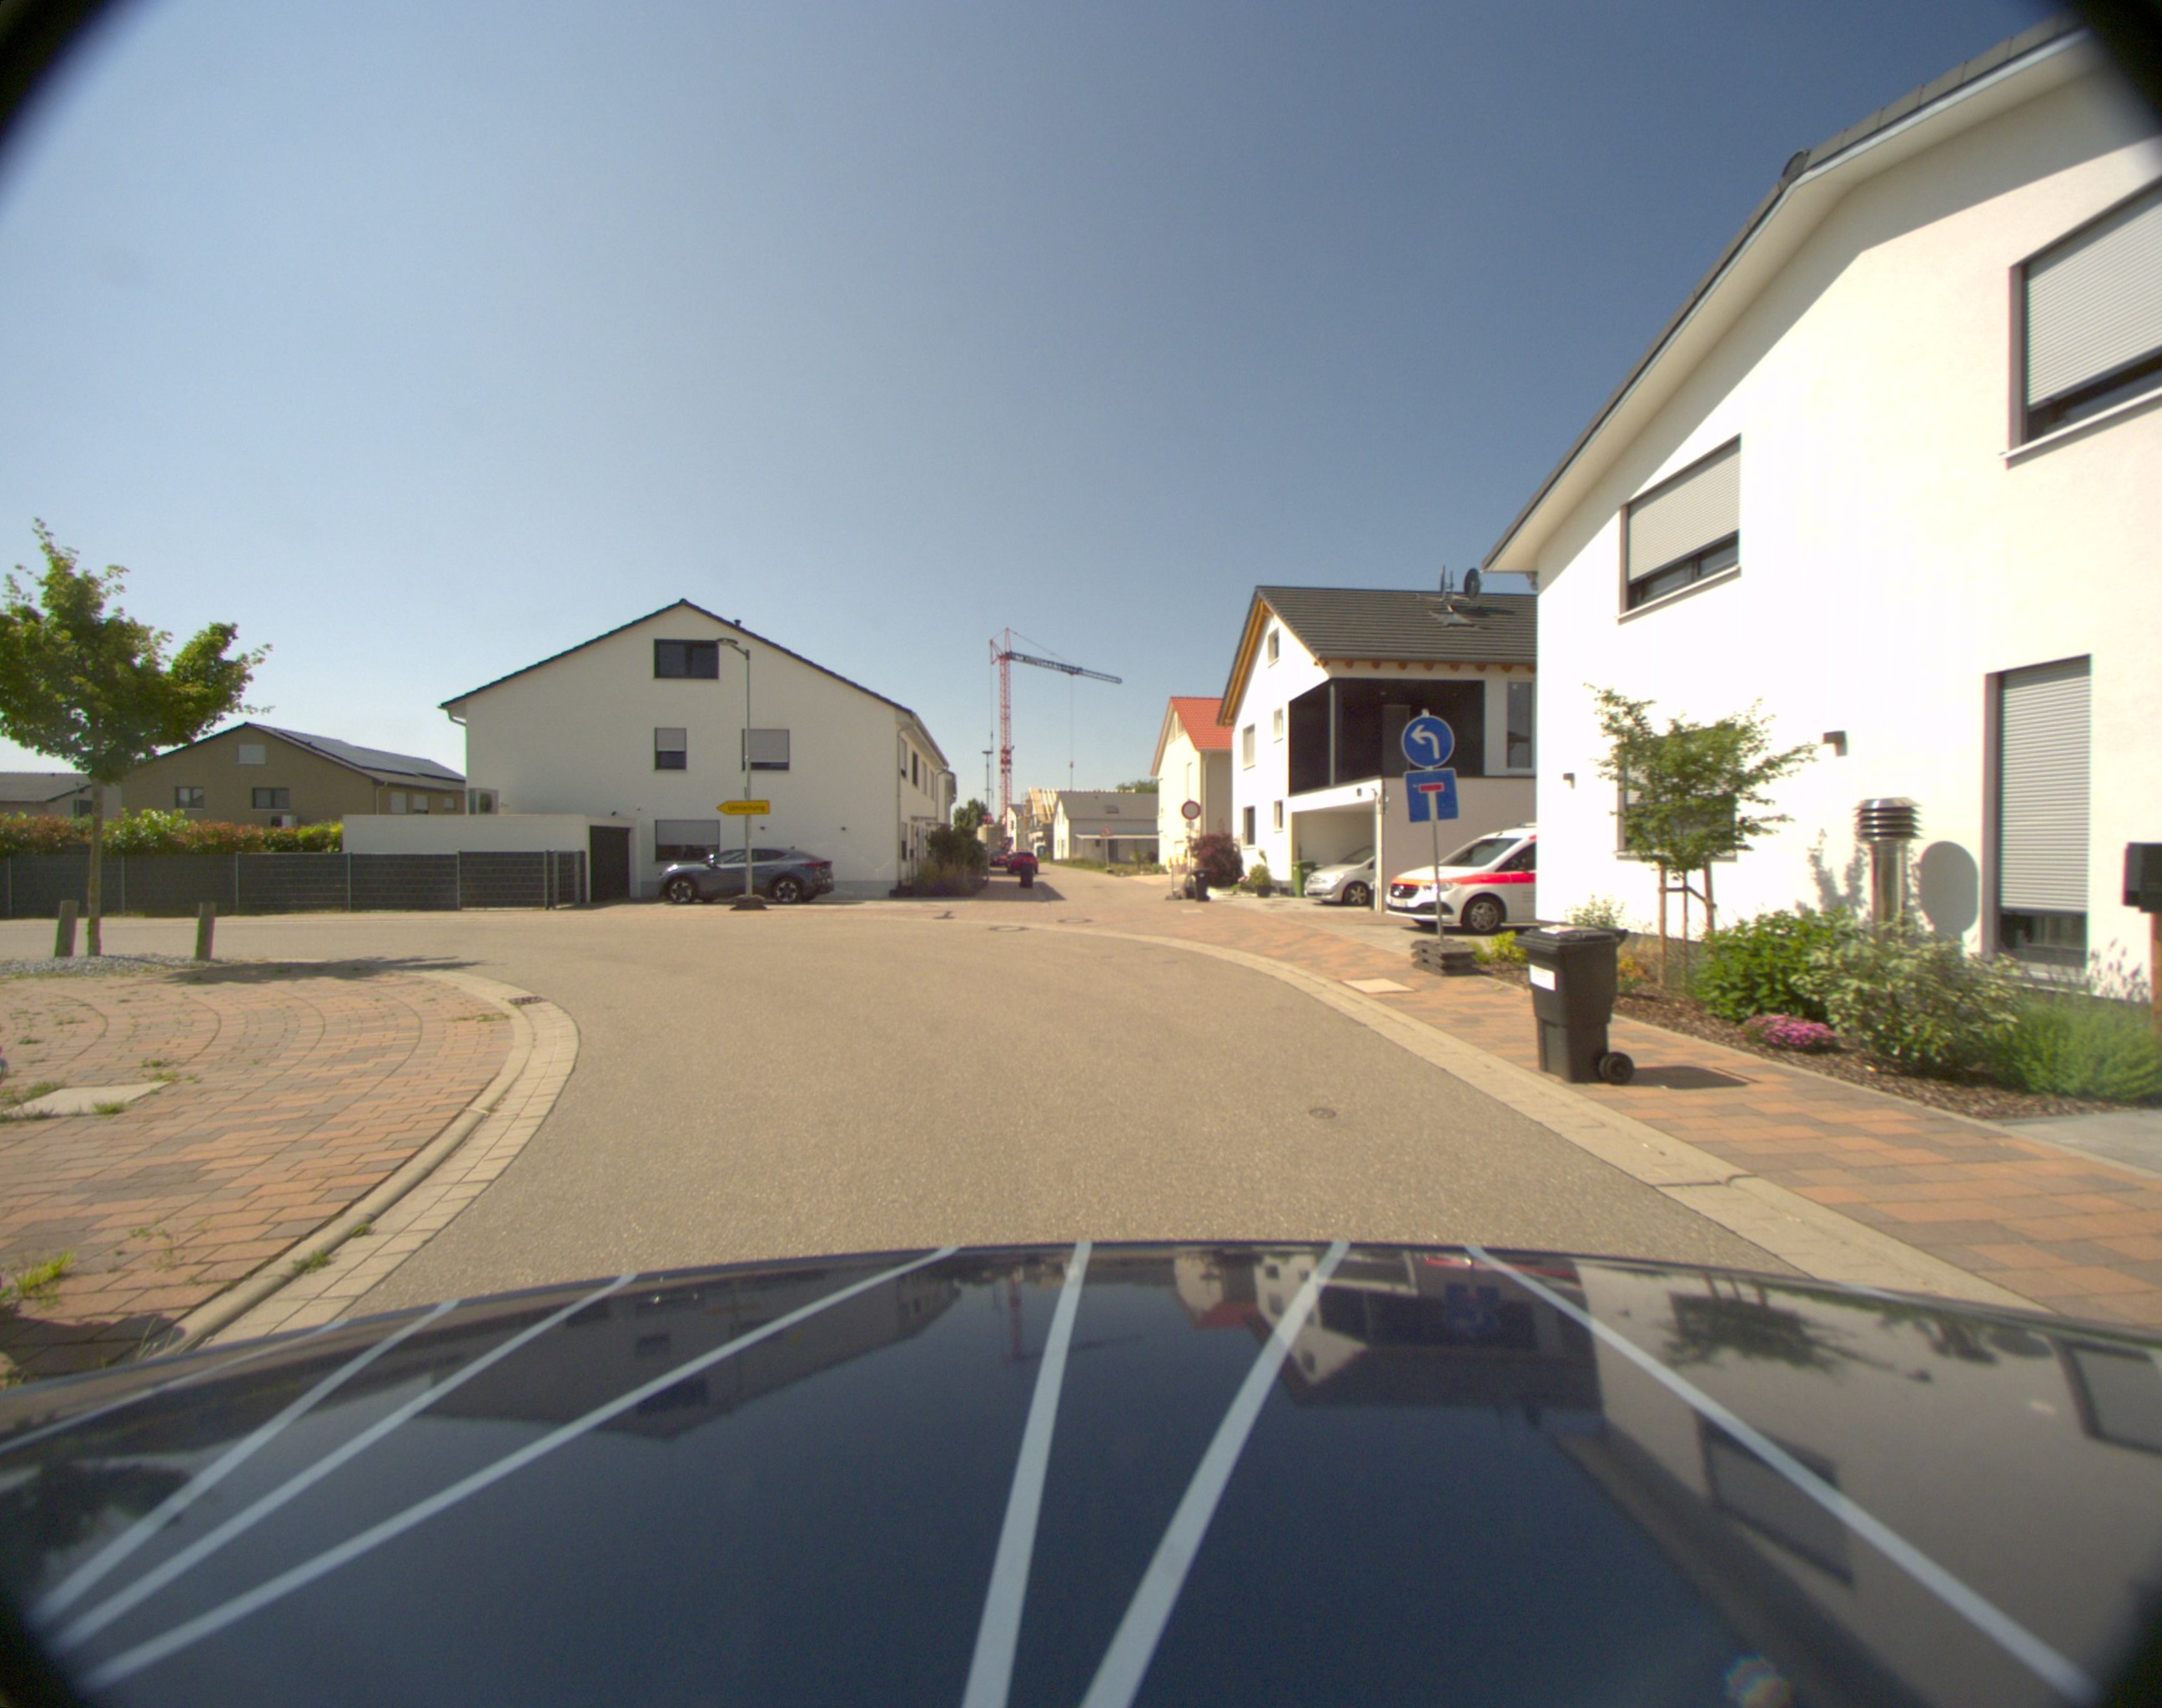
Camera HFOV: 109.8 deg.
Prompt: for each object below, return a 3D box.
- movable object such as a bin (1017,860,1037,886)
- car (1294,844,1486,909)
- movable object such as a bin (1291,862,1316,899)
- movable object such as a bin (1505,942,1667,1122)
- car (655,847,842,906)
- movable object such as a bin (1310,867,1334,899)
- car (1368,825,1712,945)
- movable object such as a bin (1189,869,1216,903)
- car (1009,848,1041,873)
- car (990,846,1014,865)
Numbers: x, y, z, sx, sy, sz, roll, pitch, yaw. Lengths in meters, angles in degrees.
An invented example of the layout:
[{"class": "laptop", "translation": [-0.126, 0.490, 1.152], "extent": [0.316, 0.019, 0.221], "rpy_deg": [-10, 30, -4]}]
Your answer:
[{"class": "movable object such as a bin", "translation": [-2.233, 0.787, 31.405], "extent": [0.824, 1.058, 0.589], "rpy_deg": [-1, 2, -6]}, {"class": "car", "translation": [7.729, 0.532, 19.198], "extent": [4.165, 1.553, 1.744], "rpy_deg": [0, 1, -7]}, {"class": "movable object such as a bin", "translation": [6.517, 0.772, 22.306], "extent": [0.500, 1.085, 0.601], "rpy_deg": [-1, 0, -6]}, {"class": "movable object such as a bin", "translation": [3.021, 1.042, 4.585], "extent": [0.625, 0.943, 0.499], "rpy_deg": [-1, 2, -6]}, {"class": "car", "translation": [-9.146, 0.601, 21.193], "extent": [4.349, 1.549, 1.959], "rpy_deg": [0, 0, -4]}, {"class": "movable object such as a bin", "translation": [7.110, 0.849, 22.420], "extent": [0.500, 0.900, 0.561], "rpy_deg": [-1, 2, -6]}, {"class": "car", "translation": [7.626, 0.472, 12.918], "extent": [4.750, 1.864, 1.937], "rpy_deg": [0, 1, -4]}, {"class": "movable object such as a bin", "translation": [3.418, 0.903, 21.456], "extent": [0.618, 0.931, 0.564], "rpy_deg": [-1, 0, -6]}, {"class": "car", "translation": [-3.649, 0.361, 48.991], "extent": [1.912, 1.470, 3.996], "rpy_deg": [0, 2, -6]}, {"class": "car", "translation": [-7.122, 0.072, 68.332], "extent": [1.804, 1.609, 3.671], "rpy_deg": [-1, 2, -12]}]
